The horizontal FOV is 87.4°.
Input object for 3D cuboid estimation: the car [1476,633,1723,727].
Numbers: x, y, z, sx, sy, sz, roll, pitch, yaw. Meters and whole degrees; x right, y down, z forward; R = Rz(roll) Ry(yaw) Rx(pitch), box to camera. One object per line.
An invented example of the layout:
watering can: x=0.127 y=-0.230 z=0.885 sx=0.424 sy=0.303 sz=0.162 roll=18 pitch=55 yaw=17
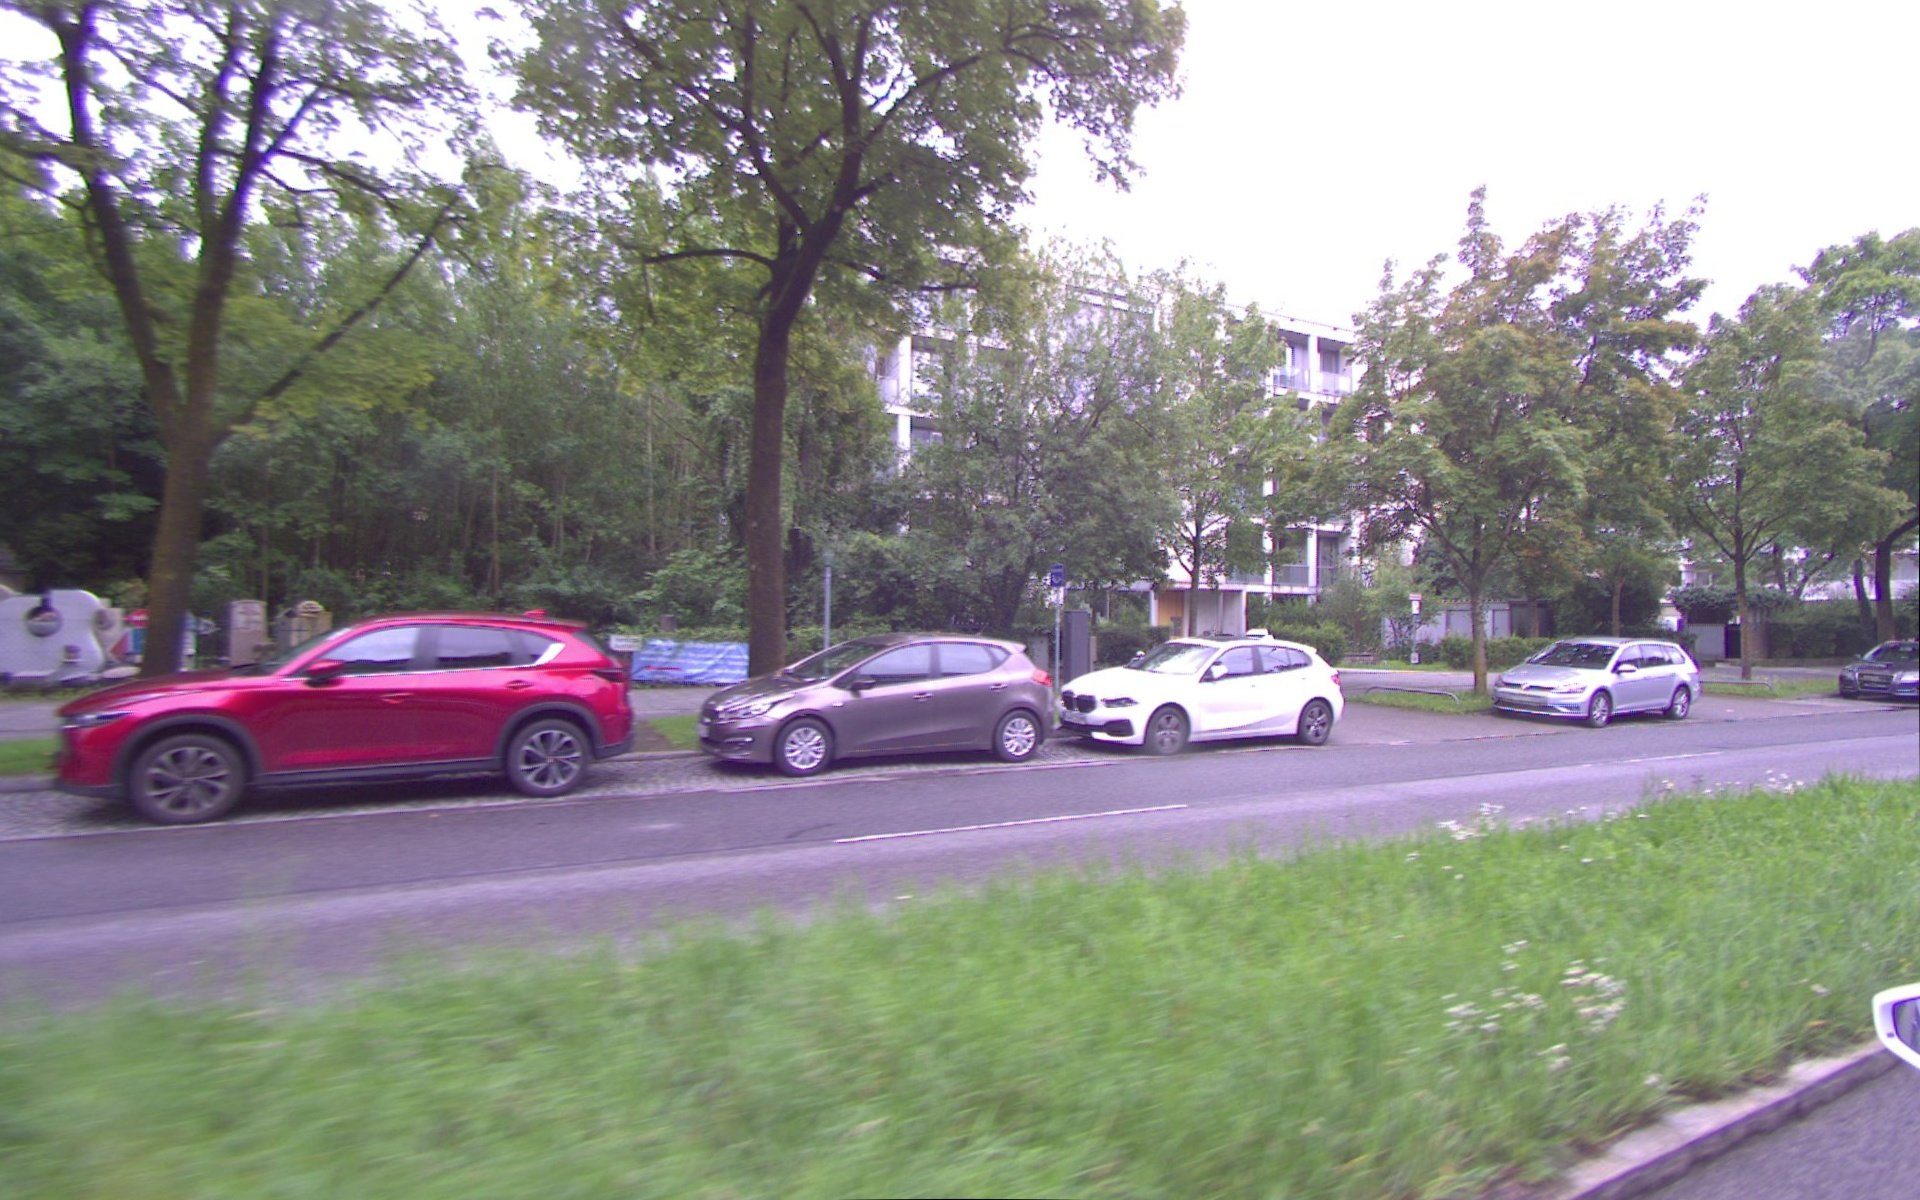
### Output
car: x=11.850 y=1.396 z=18.547 sx=4.763 sy=1.468 sz=1.729 roll=1 pitch=1 yaw=-29

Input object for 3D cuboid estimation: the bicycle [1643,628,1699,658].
bicycle: x=29.712 y=1.789 z=42.023 sx=0.527 sy=1.243 sz=1.841 roll=1 pitch=-2 yaw=-38

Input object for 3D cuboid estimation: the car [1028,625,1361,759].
car: x=3.276 y=1.166 z=13.868 sx=4.419 sy=1.550 sz=1.732 roll=1 pitch=0 yaw=-28

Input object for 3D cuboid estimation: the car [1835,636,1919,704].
car: x=23.328 y=1.659 z=24.512 sx=4.309 sy=1.442 sz=1.573 roll=1 pitch=1 yaw=-29

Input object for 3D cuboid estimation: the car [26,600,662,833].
car: x=-5.257 y=0.892 z=9.233 sx=4.551 sy=1.674 sz=1.731 roll=1 pitch=1 yaw=-30

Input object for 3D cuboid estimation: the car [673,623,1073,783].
car: x=-0.966 y=1.068 z=11.629 sx=4.279 sy=1.502 sz=1.732 roll=1 pitch=1 yaw=-28
